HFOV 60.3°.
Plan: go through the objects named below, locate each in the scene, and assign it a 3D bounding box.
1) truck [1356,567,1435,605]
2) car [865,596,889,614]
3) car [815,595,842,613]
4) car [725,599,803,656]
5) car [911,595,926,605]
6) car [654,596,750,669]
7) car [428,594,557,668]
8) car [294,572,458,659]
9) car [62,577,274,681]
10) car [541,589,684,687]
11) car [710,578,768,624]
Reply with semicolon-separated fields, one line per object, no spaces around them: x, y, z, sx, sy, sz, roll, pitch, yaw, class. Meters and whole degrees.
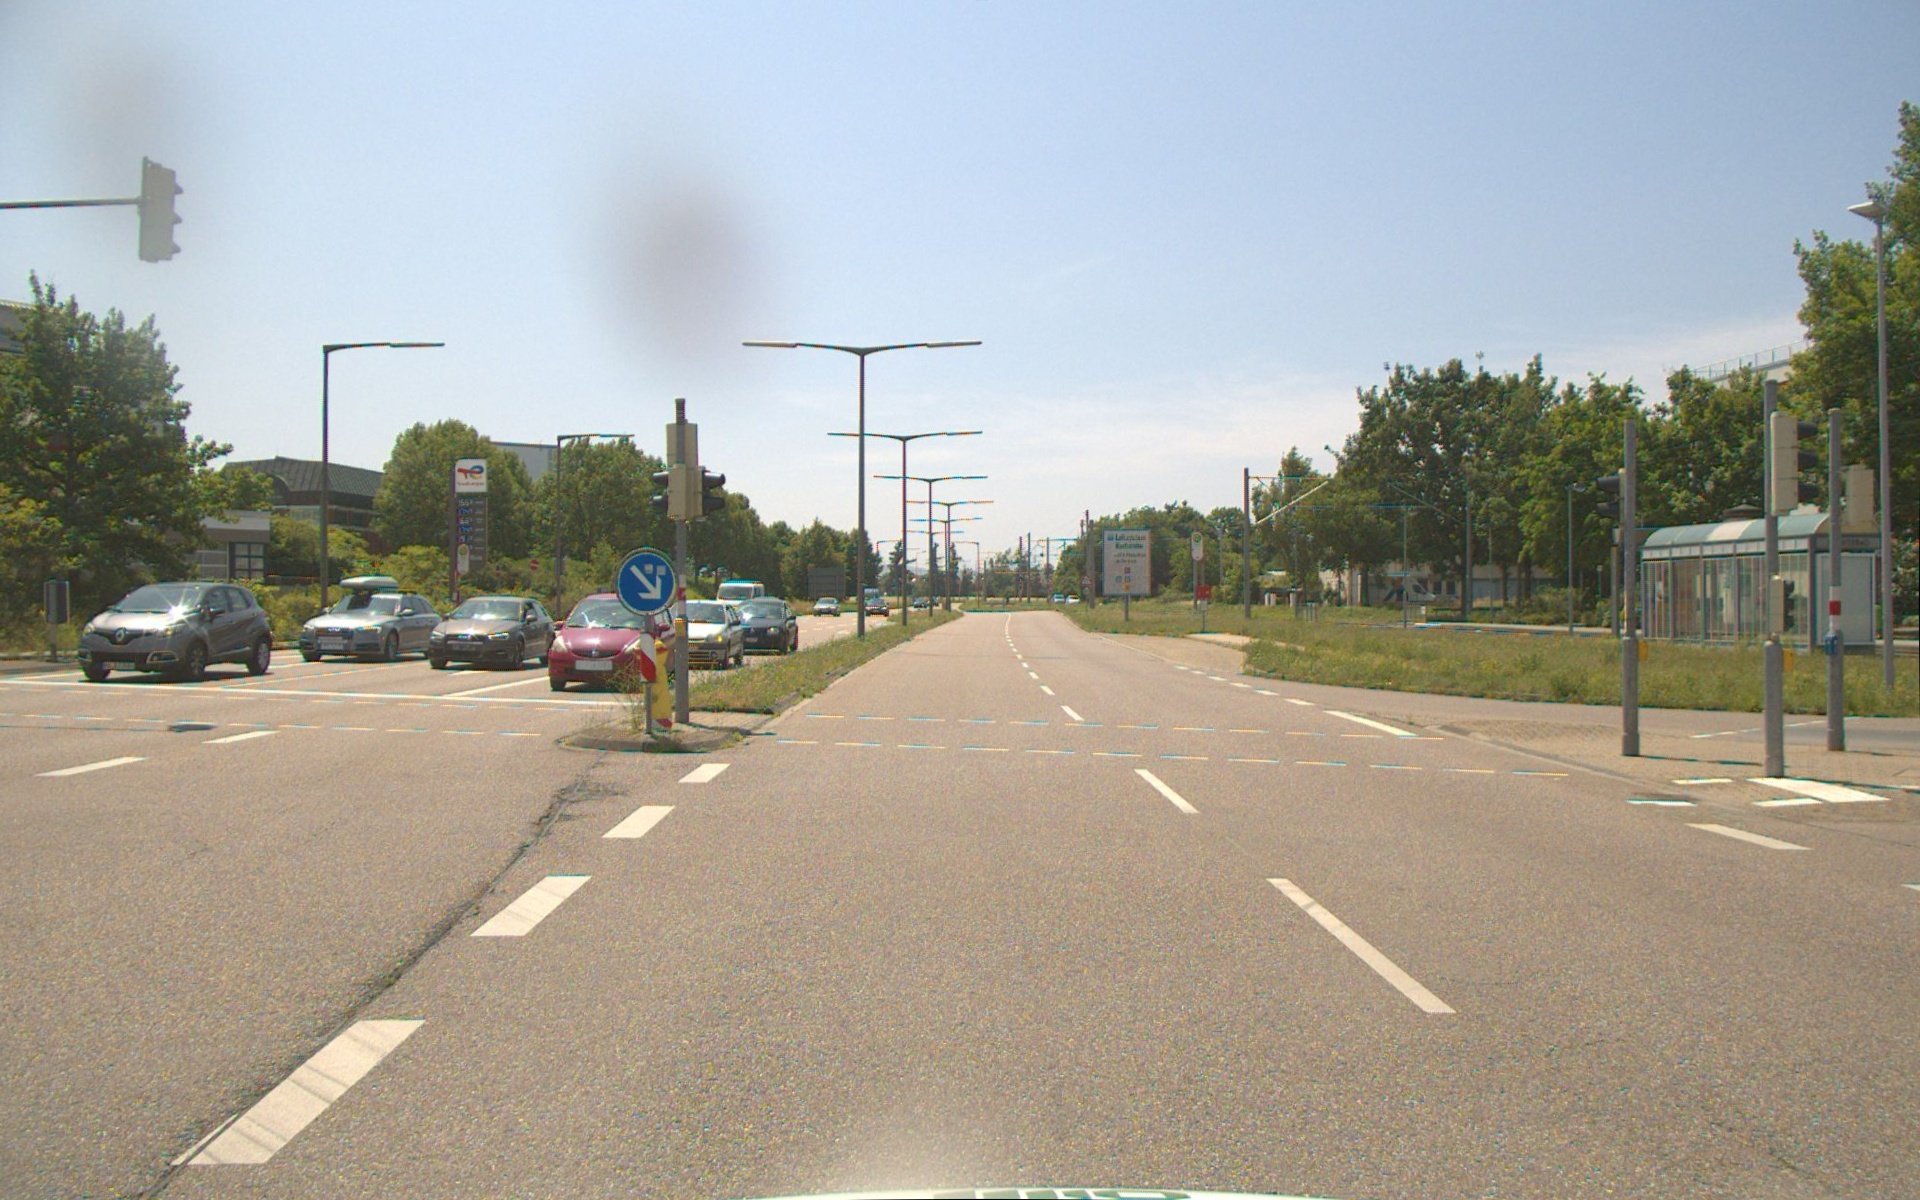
35.425;-1.135;134.529;5.729;2.893;2.316;-2;-1;-7;truck
-6.845;0.382;136.855;1.695;1.483;4.564;0;0;0;car
-10.539;0.309;132.552;1.793;1.474;4.851;0;0;0;car
-5.262;0.715;44.749;1.641;1.459;4.190;1;0;-1;car
-6.285;-0.023;252.022;1.952;1.383;4.666;-2;0;1;car
-5.544;0.665;35.897;1.529;1.448;3.853;1;1;-1;car
-9.540;0.603;34.008;1.564;1.409;4.002;1;0;-1;car
-12.752;0.311;36.483;1.925;1.780;5.021;0;0;-1;car
-13.045;0.439;27.506;1.625;1.566;3.999;1;0;-1;car
-5.725;0.587;27.676;1.625;1.516;3.999;0;0;-1;car
-11.701;0.052;88.016;2.203;2.313;5.449;1;0;1;car
